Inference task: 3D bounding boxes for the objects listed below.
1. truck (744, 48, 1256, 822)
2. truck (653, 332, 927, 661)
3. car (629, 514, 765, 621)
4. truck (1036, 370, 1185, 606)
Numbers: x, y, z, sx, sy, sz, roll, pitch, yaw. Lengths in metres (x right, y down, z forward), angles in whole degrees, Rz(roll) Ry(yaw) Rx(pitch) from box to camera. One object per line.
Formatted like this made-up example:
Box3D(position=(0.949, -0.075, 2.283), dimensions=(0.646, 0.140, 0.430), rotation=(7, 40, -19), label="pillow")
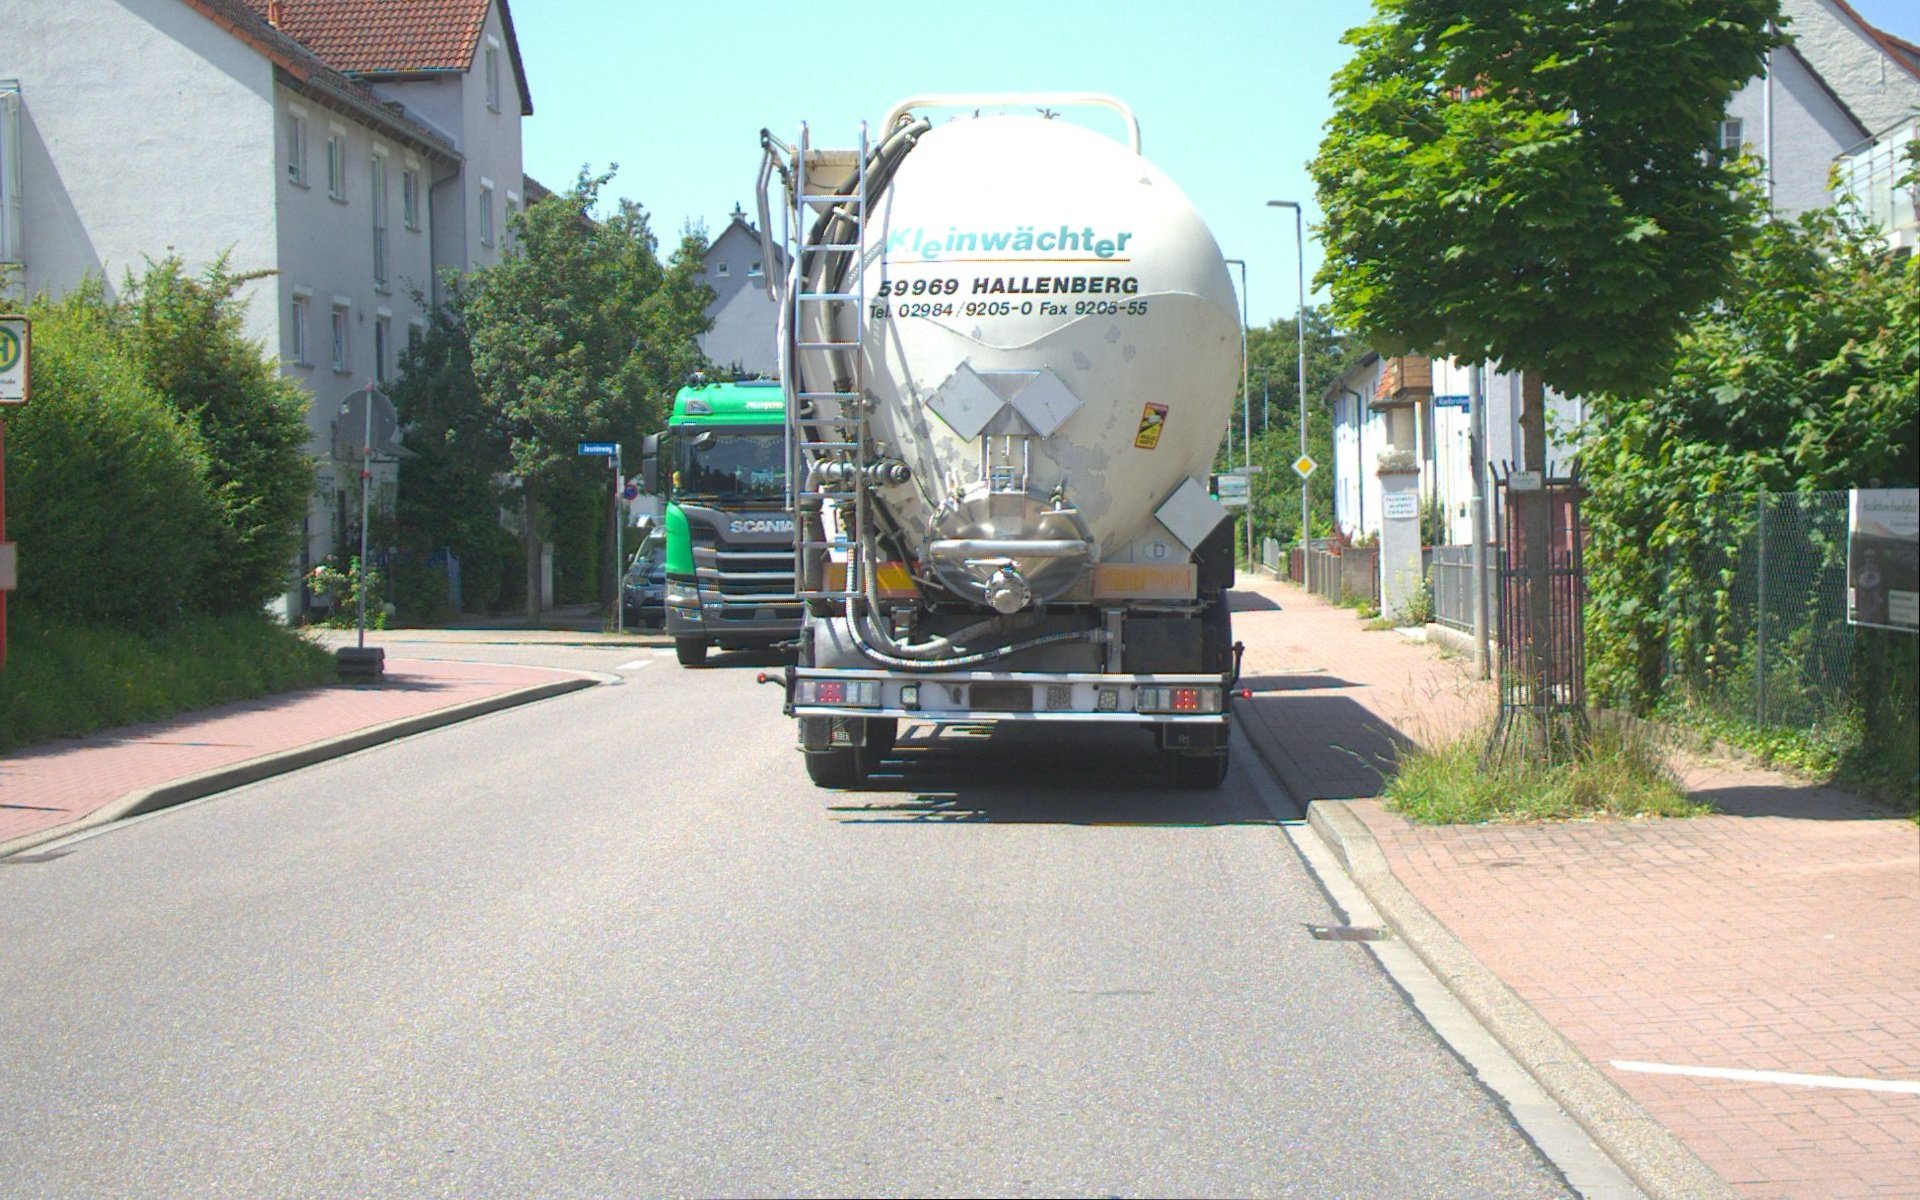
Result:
Box3D(position=(0.212, -0.963, 22.614), dimensions=(2.641, 4.002, 9.562), rotation=(0, 1, 0), label="truck")
Box3D(position=(-2.002, -1.305, 44.516), dimensions=(2.567, 3.687, 10.078), rotation=(-2, 1, 2), label="truck")
Box3D(position=(-4.280, -0.566, 56.598), dimensions=(1.706, 1.681, 4.526), rotation=(0, 1, 2), label="car")
Box3D(position=(2.924, -2.154, 67.868), dimensions=(2.641, 4.210, 12.093), rotation=(-1, 1, 2), label="truck")
